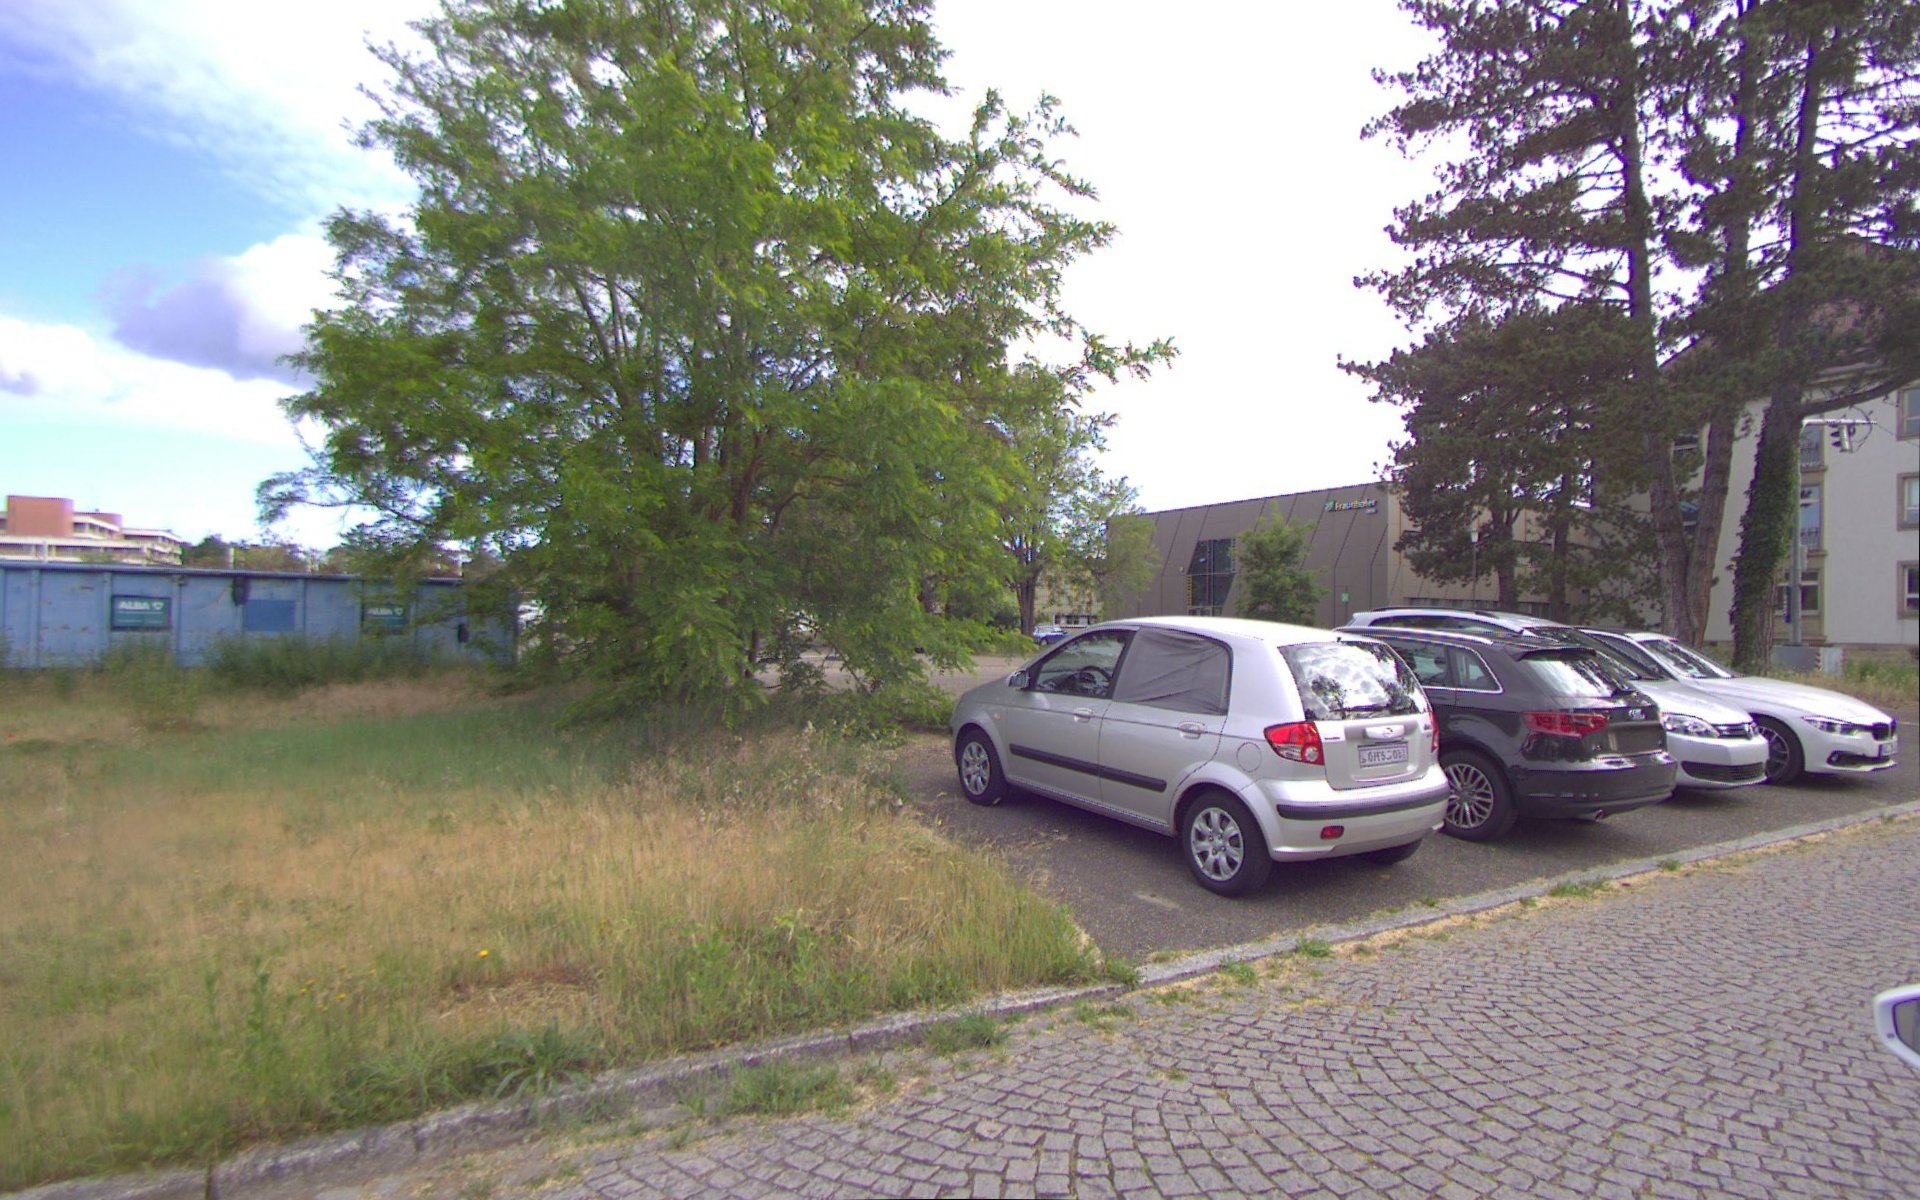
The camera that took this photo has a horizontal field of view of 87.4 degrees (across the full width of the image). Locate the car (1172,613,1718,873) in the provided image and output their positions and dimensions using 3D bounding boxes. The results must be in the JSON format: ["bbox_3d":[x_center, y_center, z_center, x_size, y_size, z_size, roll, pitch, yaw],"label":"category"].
[{"bbox_3d":[3.653,0.920,8.213,1.565,1.448,3.723,1,1,-33],"label":"car"}]

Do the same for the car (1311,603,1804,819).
[{"bbox_3d":[5.728,0.909,10.123,1.632,1.584,3.924,1,1,-33],"label":"car"}]

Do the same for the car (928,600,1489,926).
[{"bbox_3d":[1.406,0.825,6.965,1.565,1.499,3.681,1,1,-33],"label":"car"}]

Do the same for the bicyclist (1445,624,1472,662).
[{"bbox_3d":[19.008,1.642,38.293,0.598,1.429,0.745,1,-1,-30],"label":"bicyclist"}]

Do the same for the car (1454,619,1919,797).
[{"bbox_3d":[7.915,1.041,11.345,1.631,1.440,3.927,1,1,-31],"label":"car"}]
